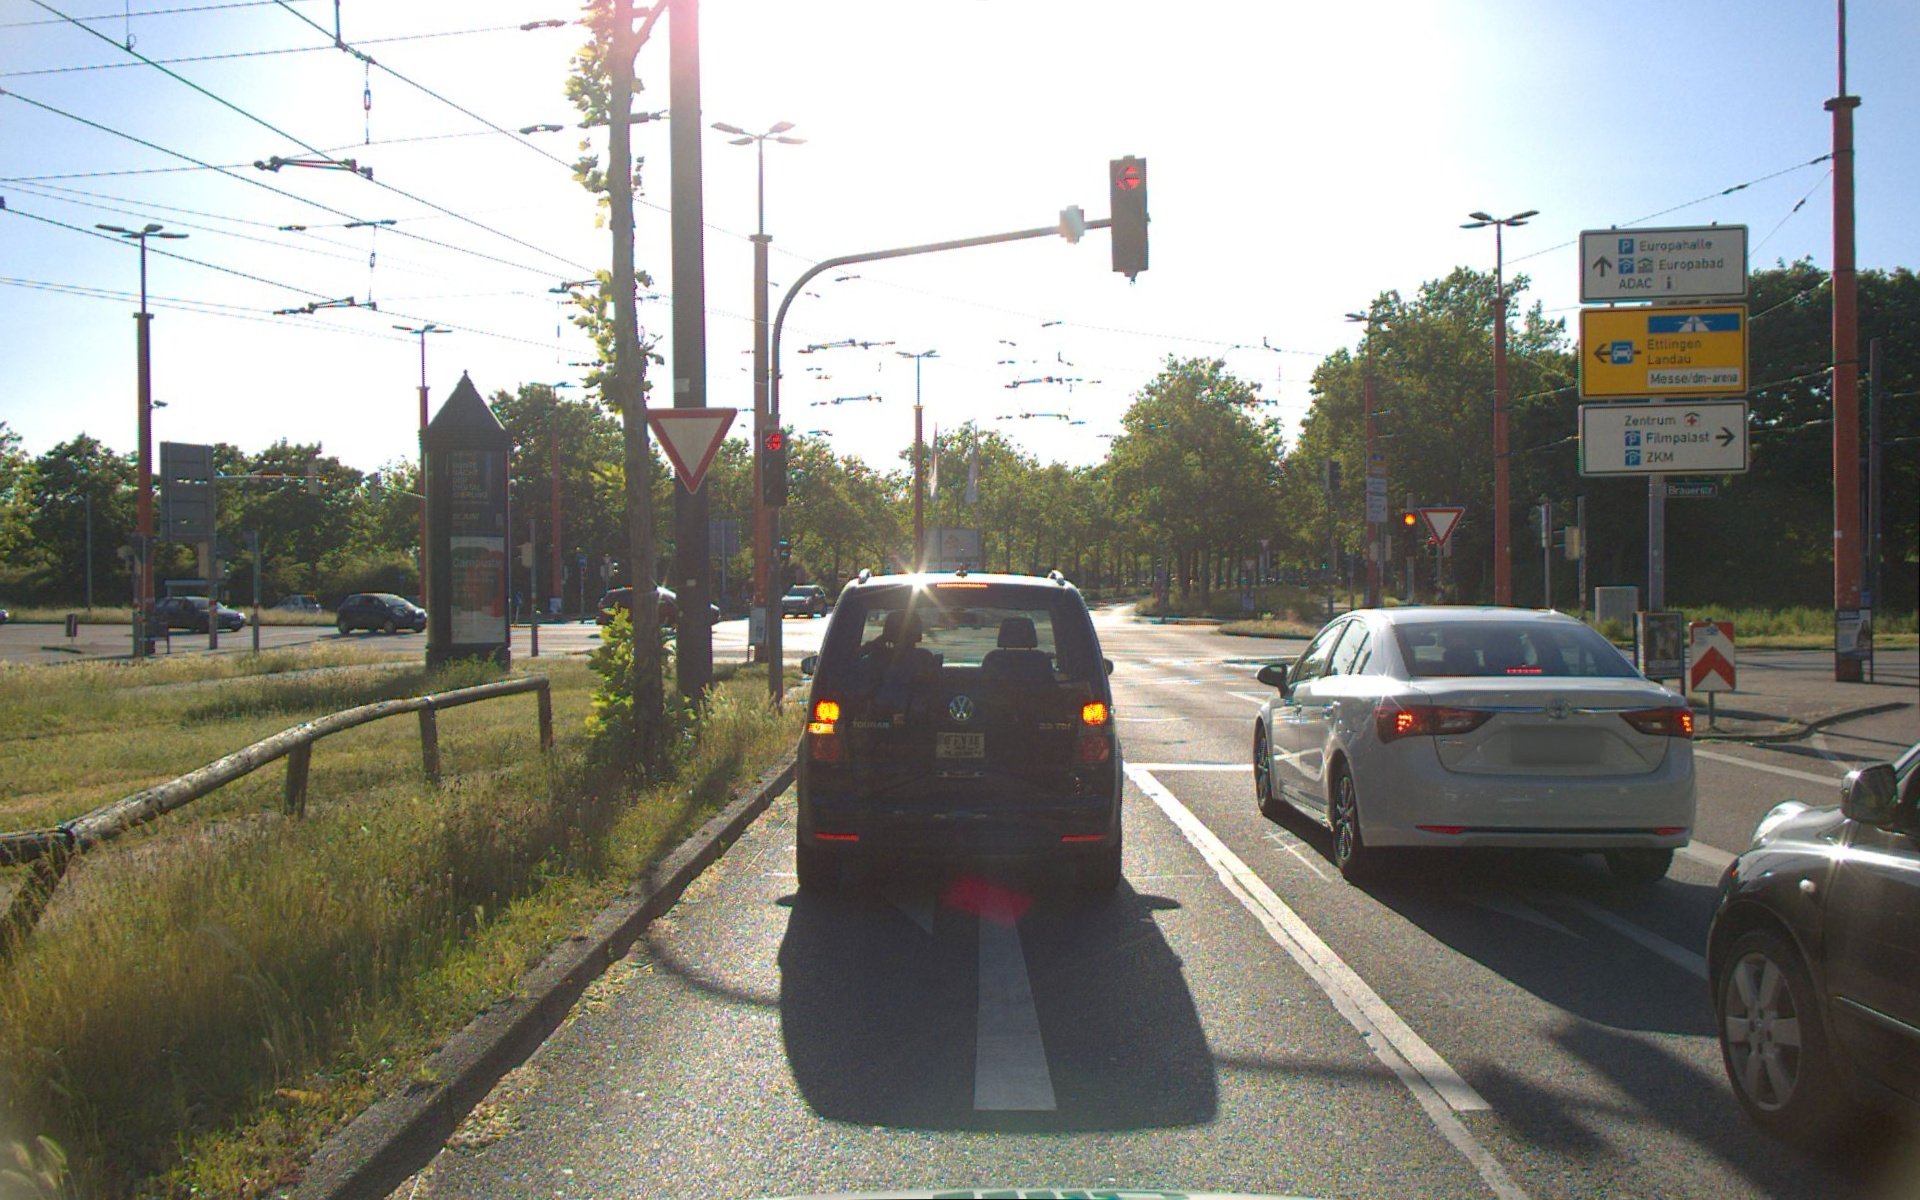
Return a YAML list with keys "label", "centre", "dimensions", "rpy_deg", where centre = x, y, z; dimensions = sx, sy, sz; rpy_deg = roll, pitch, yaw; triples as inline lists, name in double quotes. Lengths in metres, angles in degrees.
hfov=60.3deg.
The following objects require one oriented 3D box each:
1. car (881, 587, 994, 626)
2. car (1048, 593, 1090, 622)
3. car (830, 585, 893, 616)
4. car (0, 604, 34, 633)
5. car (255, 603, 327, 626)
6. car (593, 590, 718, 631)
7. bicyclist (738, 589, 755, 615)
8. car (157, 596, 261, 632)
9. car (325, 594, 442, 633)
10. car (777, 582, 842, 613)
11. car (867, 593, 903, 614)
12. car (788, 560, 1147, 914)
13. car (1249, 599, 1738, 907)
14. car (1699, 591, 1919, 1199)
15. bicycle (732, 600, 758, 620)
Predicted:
- label: "car"
  centre: [-0.862, 0.227, 65.475]
  dimensions: [4.173, 1.489, 1.891]
  rpy_deg: [0, 0, -35]
- label: "car"
  centre: [5.901, 0.387, 89.134]
  dimensions: [1.867, 1.489, 4.226]
  rpy_deg: [0, 0, 9]
- label: "car"
  centre: [-5.400, 0.023, 91.686]
  dimensions: [1.951, 1.714, 4.831]
  rpy_deg: [0, 0, 17]
- label: "car"
  centre: [-46.752, 0.879, 80.132]
  dimensions: [3.734, 1.333, 1.738]
  rpy_deg: [0, 0, 32]
- label: "car"
  centre: [-38.668, 0.831, 95.601]
  dimensions: [3.723, 1.333, 1.664]
  rpy_deg: [0, 0, 19]
- label: "car"
  centre: [-11.268, 0.390, 61.459]
  dimensions: [4.270, 1.489, 1.914]
  rpy_deg: [0, 0, 0]
- label: "bicyclist"
  centre: [-12.198, 0.092, 94.431]
  dimensions: [0.678, 1.483, 0.875]
  rpy_deg: [0, 0, 17]
- label: "car"
  centre: [-31.352, 0.570, 68.996]
  dimensions: [4.147, 1.489, 1.911]
  rpy_deg: [0, 0, 30]
- label: "car"
  centre: [-22.386, 0.519, 64.264]
  dimensions: [3.959, 1.489, 1.915]
  rpy_deg: [0, 0, 20]
- label: "car"
  centre: [-8.457, -0.136, 93.405]
  dimensions: [1.951, 1.714, 4.831]
  rpy_deg: [0, 0, 17]
- label: "car"
  centre: [-6.265, 0.276, 138.095]
  dimensions: [1.951, 1.714, 4.833]
  rpy_deg: [0, 0, 11]
- label: "car"
  centre: [0.010, 0.644, 9.856]
  dimensions: [1.702, 1.670, 3.999]
  rpy_deg: [0, 0, -1]
- label: "car"
  centre: [2.951, 0.739, 10.100]
  dimensions: [1.679, 1.480, 4.144]
  rpy_deg: [0, 0, 0]
- label: "car"
  centre: [3.131, 0.742, 3.501]
  dimensions: [1.525, 1.532, 3.515]
  rpy_deg: [0, 0, -1]
- label: "bicycle"
  centre: [-12.229, 0.567, 94.211]
  dimensions: [0.719, 1.109, 1.962]
  rpy_deg: [0, 0, 18]
